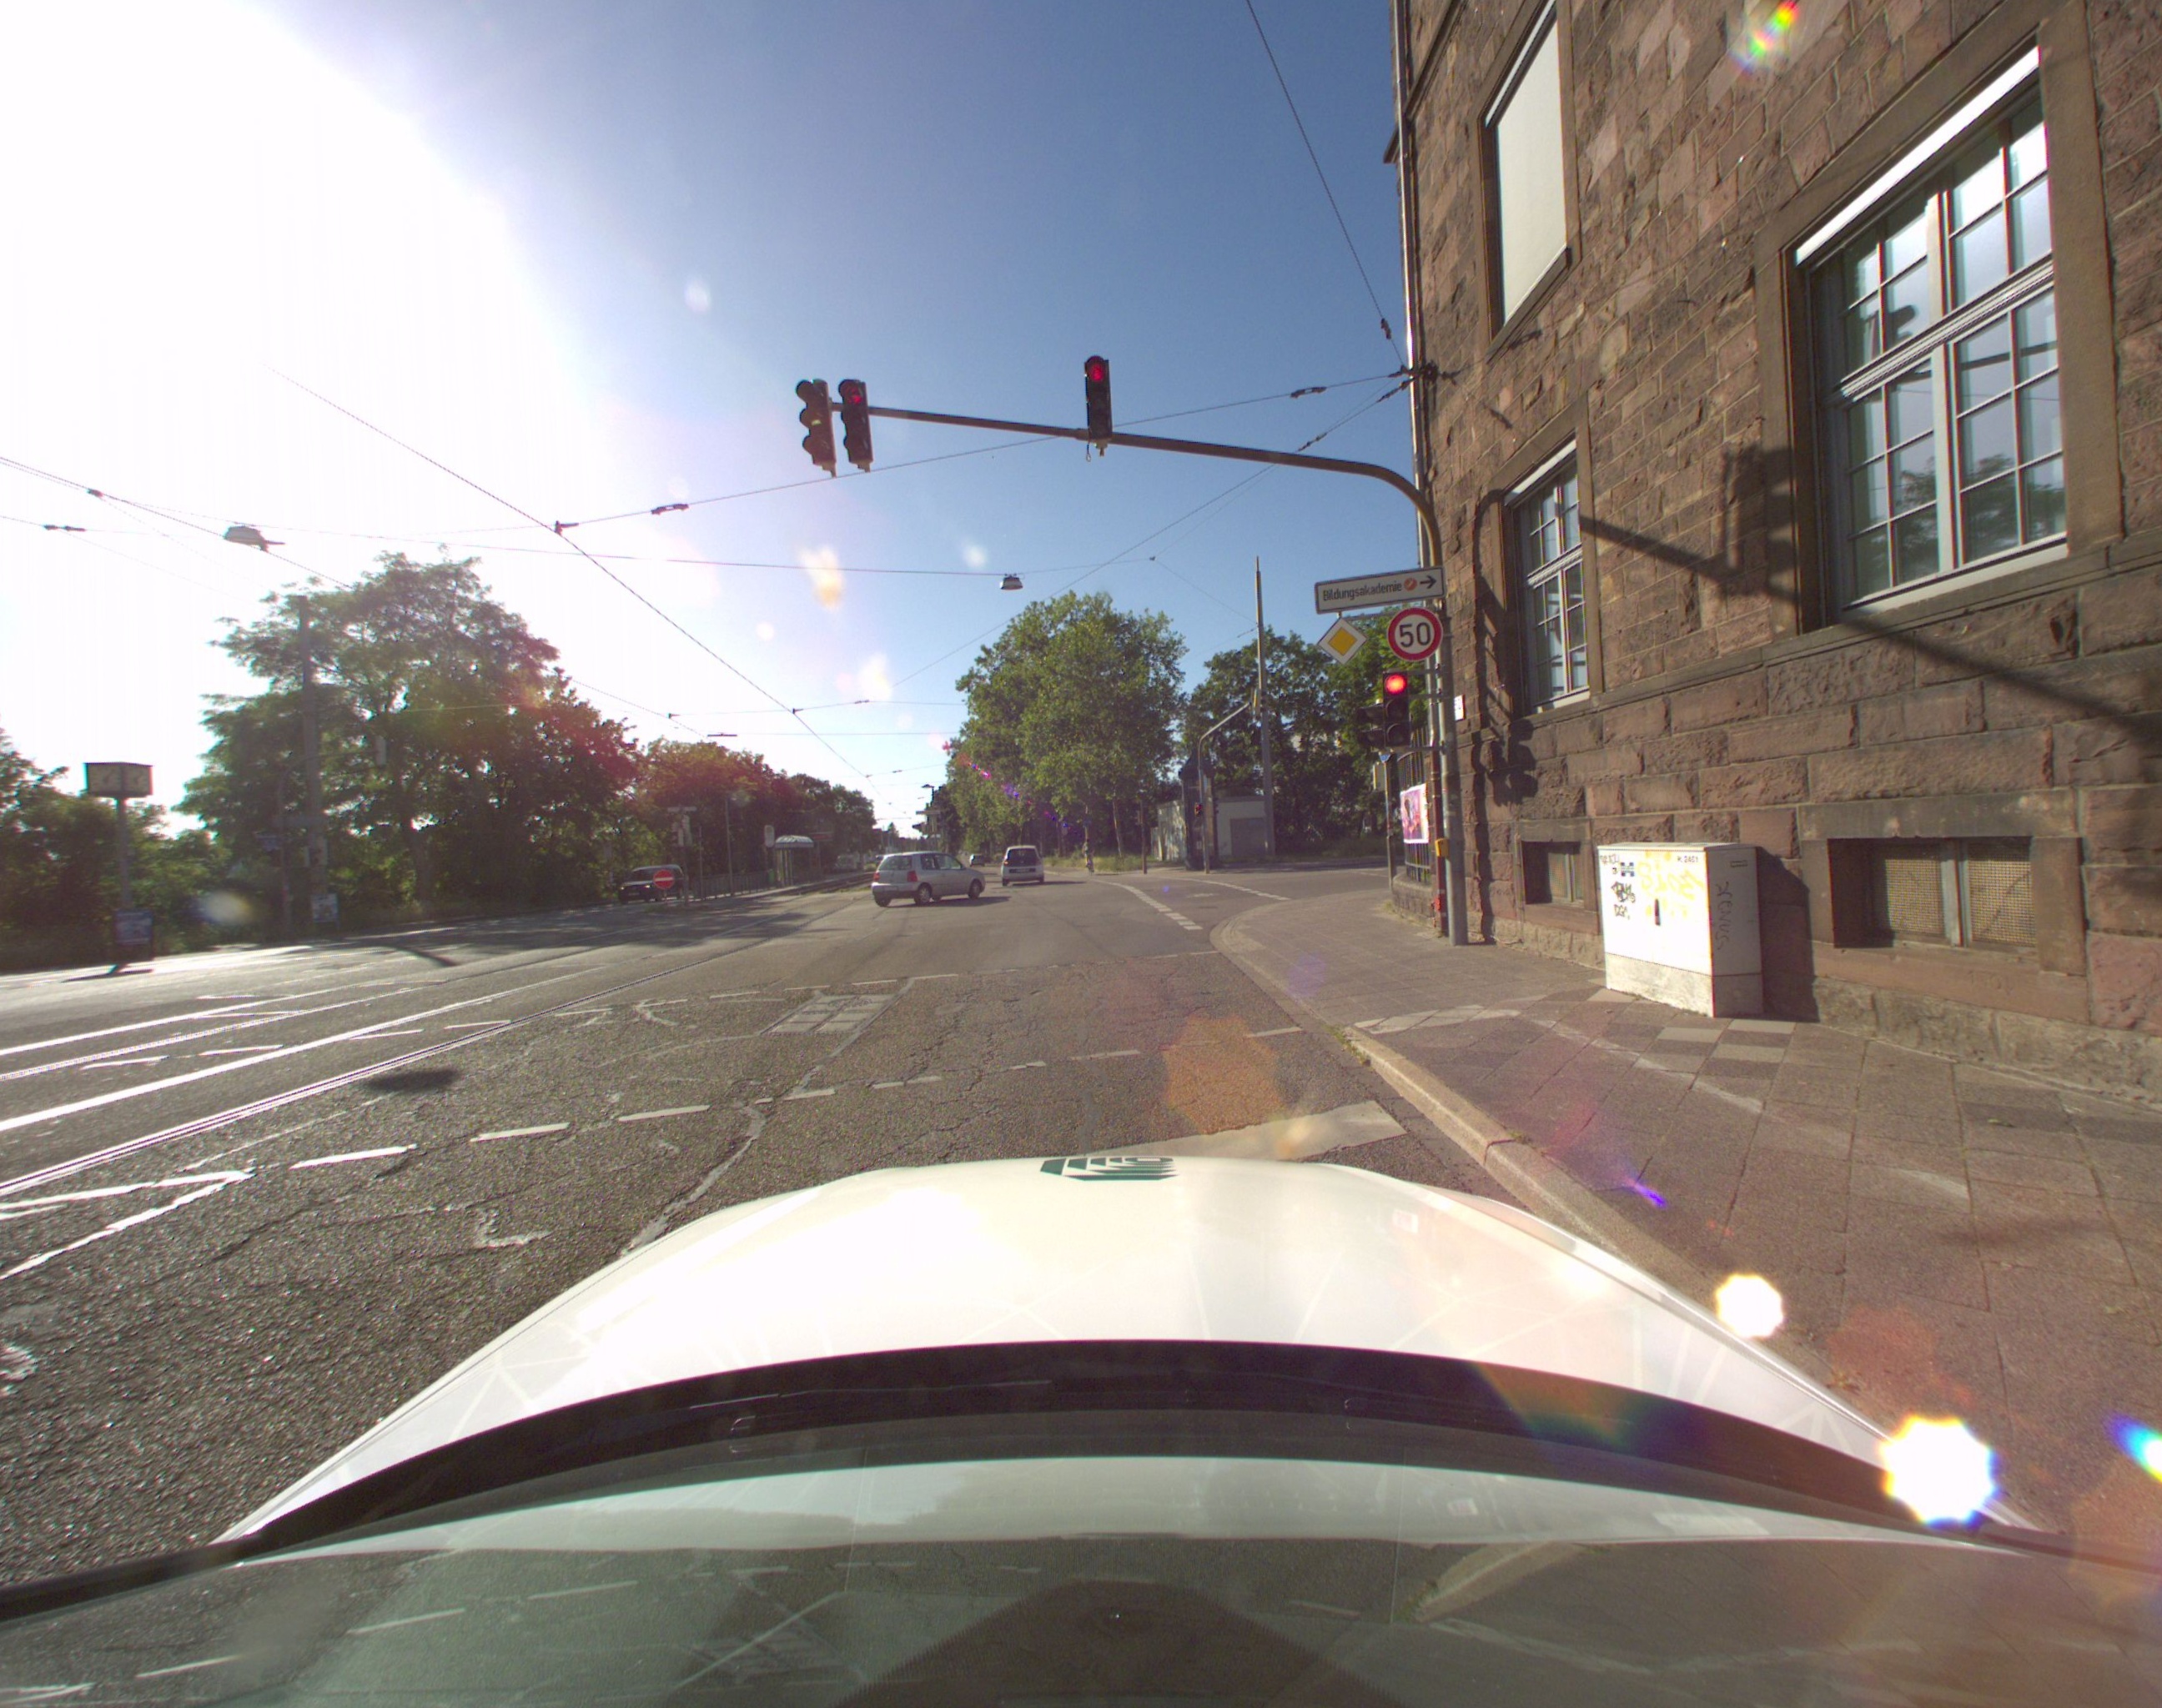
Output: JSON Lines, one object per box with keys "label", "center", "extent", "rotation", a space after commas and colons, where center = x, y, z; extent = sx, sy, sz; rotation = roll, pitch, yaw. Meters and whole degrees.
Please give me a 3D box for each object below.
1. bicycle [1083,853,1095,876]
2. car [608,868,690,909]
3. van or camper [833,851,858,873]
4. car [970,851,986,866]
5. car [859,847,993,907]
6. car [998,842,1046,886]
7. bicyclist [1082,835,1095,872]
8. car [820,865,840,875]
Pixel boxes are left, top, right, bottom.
{"label": "bicycle", "center": [0.407, 0.507, 40.704], "extent": [0.534, 1.066, 1.434], "rotation": [-4, 0, 1]}
{"label": "car", "center": [-21.452, 1.661, 40.672], "extent": [1.994, 1.767, 5.014], "rotation": [-4, 0, -9]}
{"label": "van or camper", "center": [-35.844, 1.255, 124.189], "extent": [2.589, 3.106, 6.768], "rotation": [-4, 0, -9]}
{"label": "car", "center": [-12.555, 0.547, 99.228], "extent": [1.750, 1.604, 3.569], "rotation": [-4, 1, -9]}
{"label": "car", "center": [-4.308, 0.607, 23.121], "extent": [1.850, 1.486, 3.577], "rotation": [-3, 0, 28]}
{"label": "car", "center": [-2.364, 0.369, 32.933], "extent": [1.747, 1.604, 3.745], "rotation": [-4, 1, -3]}
{"label": "bicyclist", "center": [0.378, -0.025, 40.792], "extent": [0.532, 1.769, 0.713], "rotation": [-4, 0, 1]}
{"label": "car", "center": [-34.399, 2.195, 111.723], "extent": [1.919, 1.266, 3.991], "rotation": [-4, 0, -7]}
